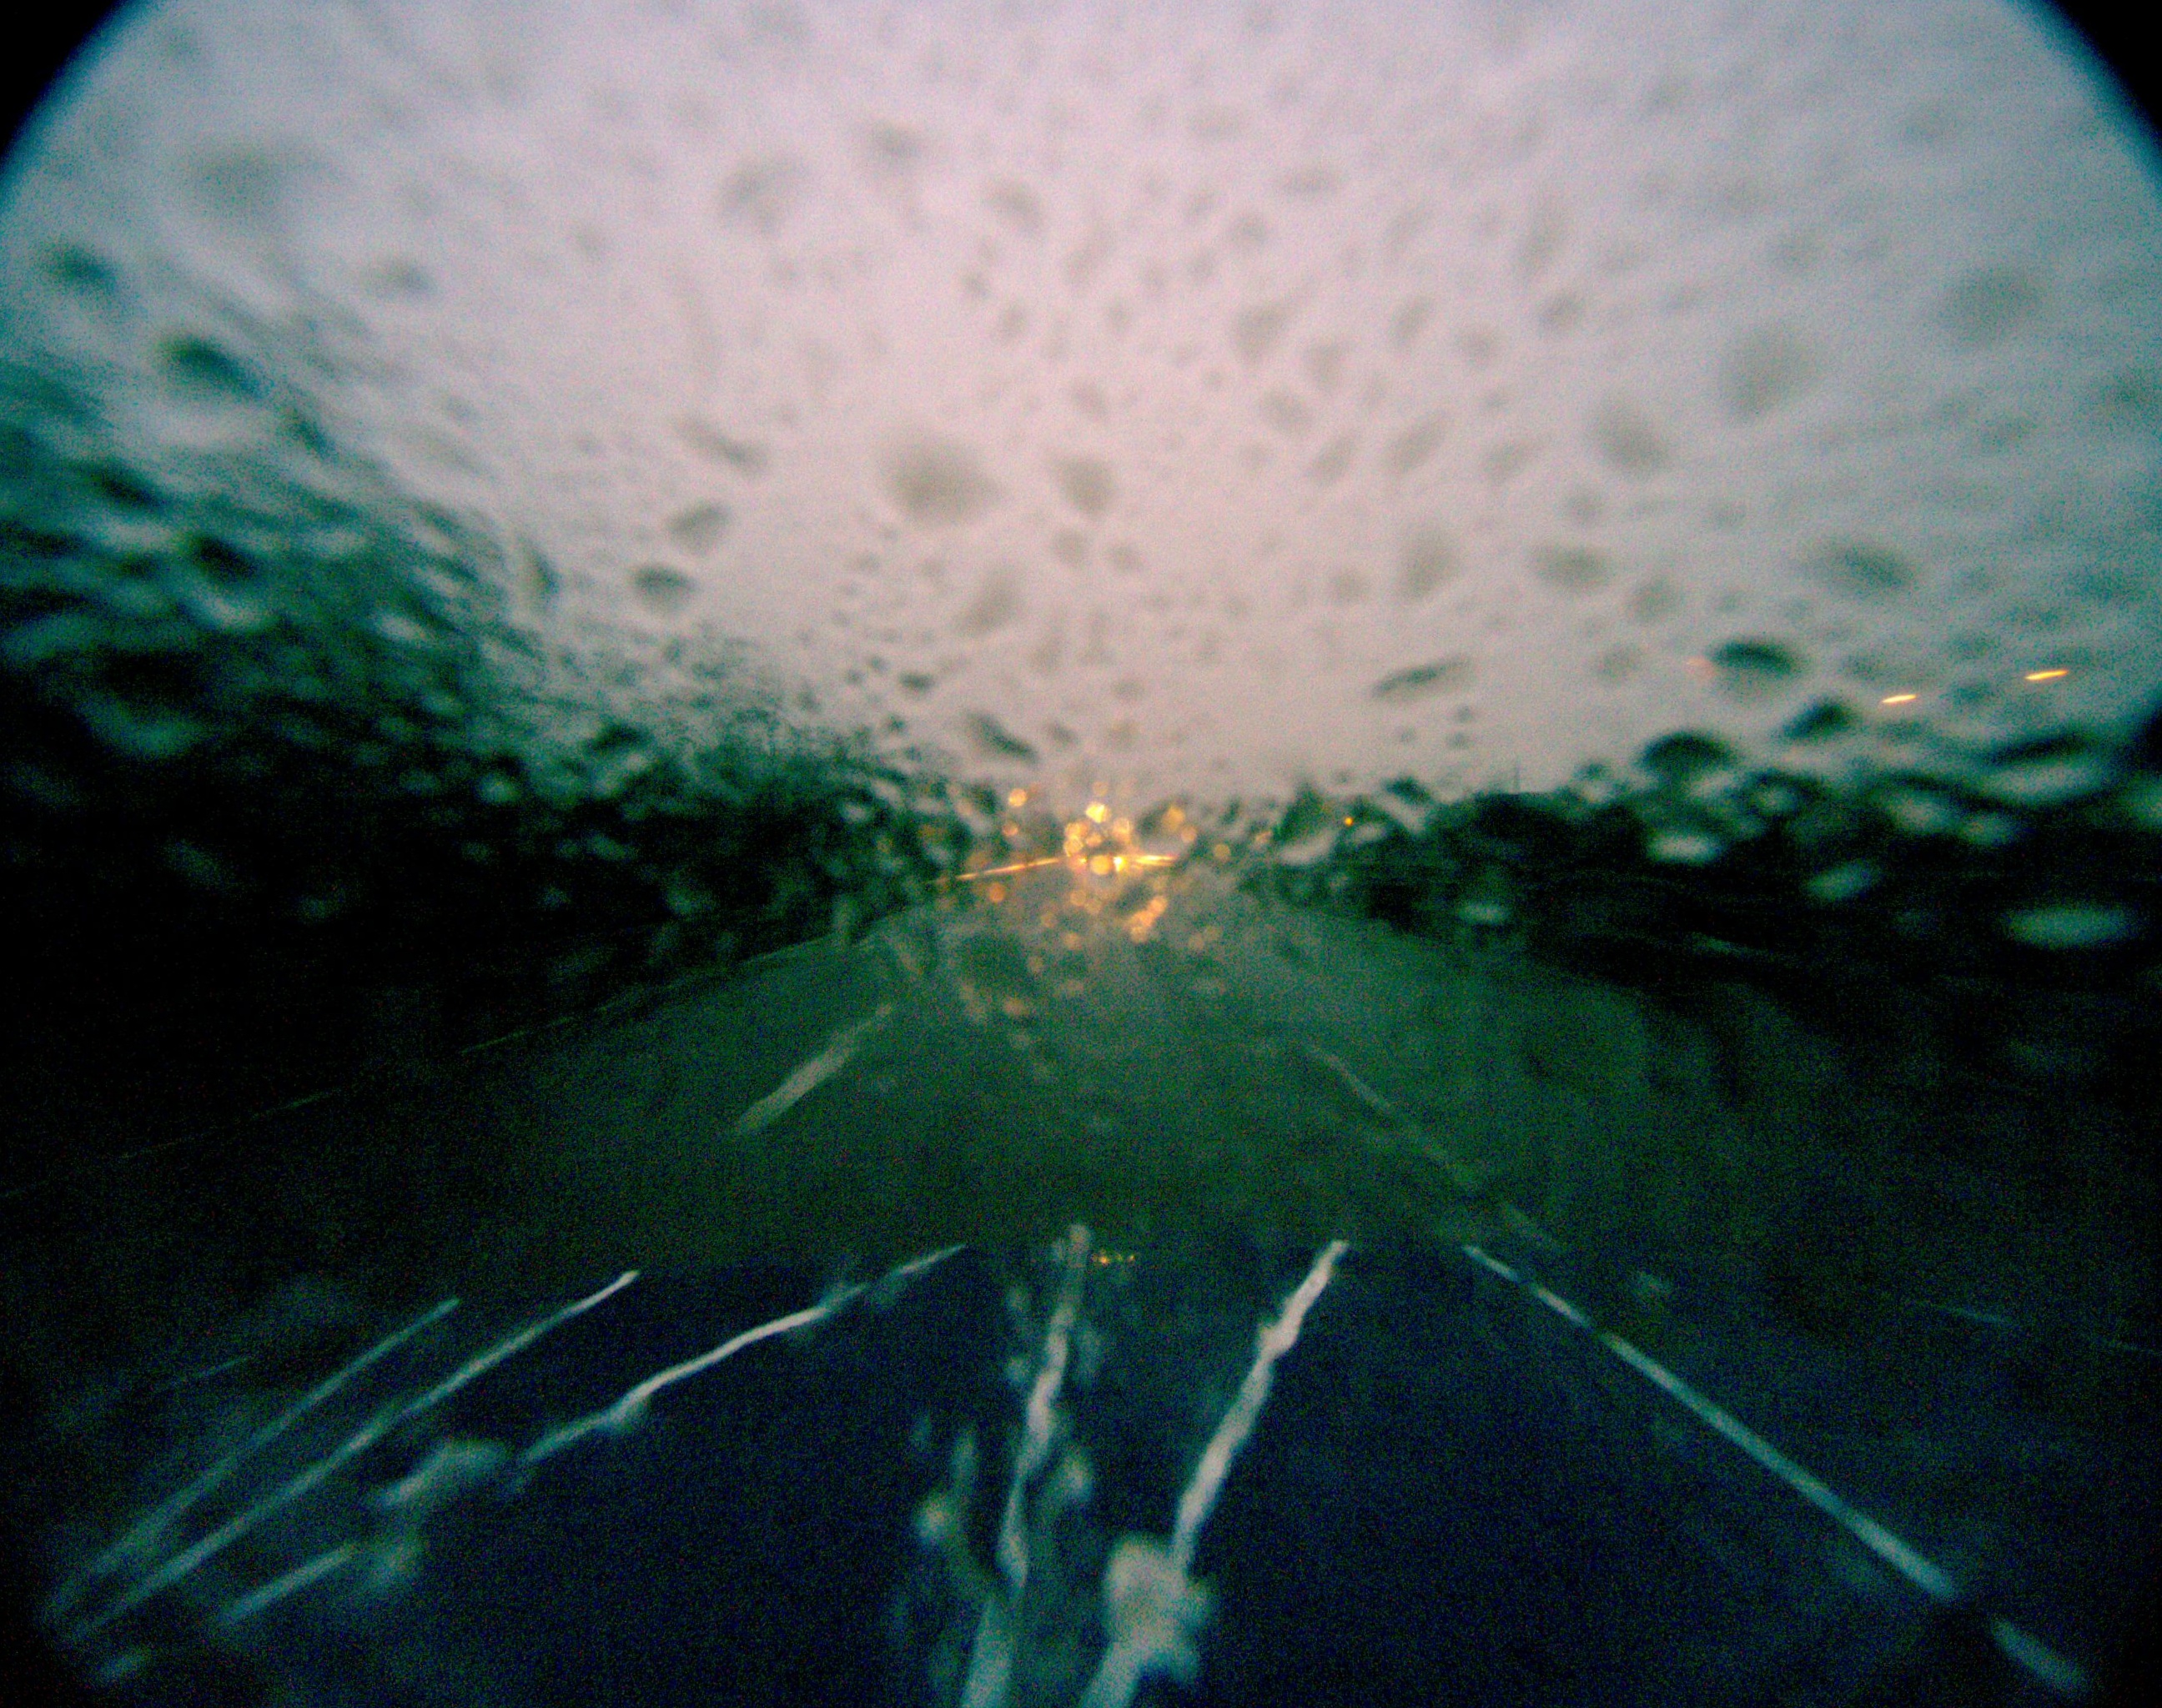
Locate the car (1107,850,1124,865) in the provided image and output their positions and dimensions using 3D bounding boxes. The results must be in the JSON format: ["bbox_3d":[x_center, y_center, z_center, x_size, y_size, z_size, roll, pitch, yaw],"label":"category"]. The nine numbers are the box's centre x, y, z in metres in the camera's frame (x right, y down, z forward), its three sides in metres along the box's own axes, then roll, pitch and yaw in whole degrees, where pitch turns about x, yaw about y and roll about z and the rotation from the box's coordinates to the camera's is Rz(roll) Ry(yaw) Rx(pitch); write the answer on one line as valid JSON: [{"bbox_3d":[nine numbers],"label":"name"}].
[{"bbox_3d":[4.927,0.520,109.288,1.999,2.002,3.999,-4,0,-1],"label":"car"}]

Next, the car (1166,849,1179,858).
[{"bbox_3d":[15.775,-0.089,131.186,1.745,1.630,4.000,-1,0,1],"label":"car"}]

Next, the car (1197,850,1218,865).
[{"bbox_3d":[14.098,0.364,85.074,1.745,1.630,4.000,-1,0,1],"label":"car"}]
